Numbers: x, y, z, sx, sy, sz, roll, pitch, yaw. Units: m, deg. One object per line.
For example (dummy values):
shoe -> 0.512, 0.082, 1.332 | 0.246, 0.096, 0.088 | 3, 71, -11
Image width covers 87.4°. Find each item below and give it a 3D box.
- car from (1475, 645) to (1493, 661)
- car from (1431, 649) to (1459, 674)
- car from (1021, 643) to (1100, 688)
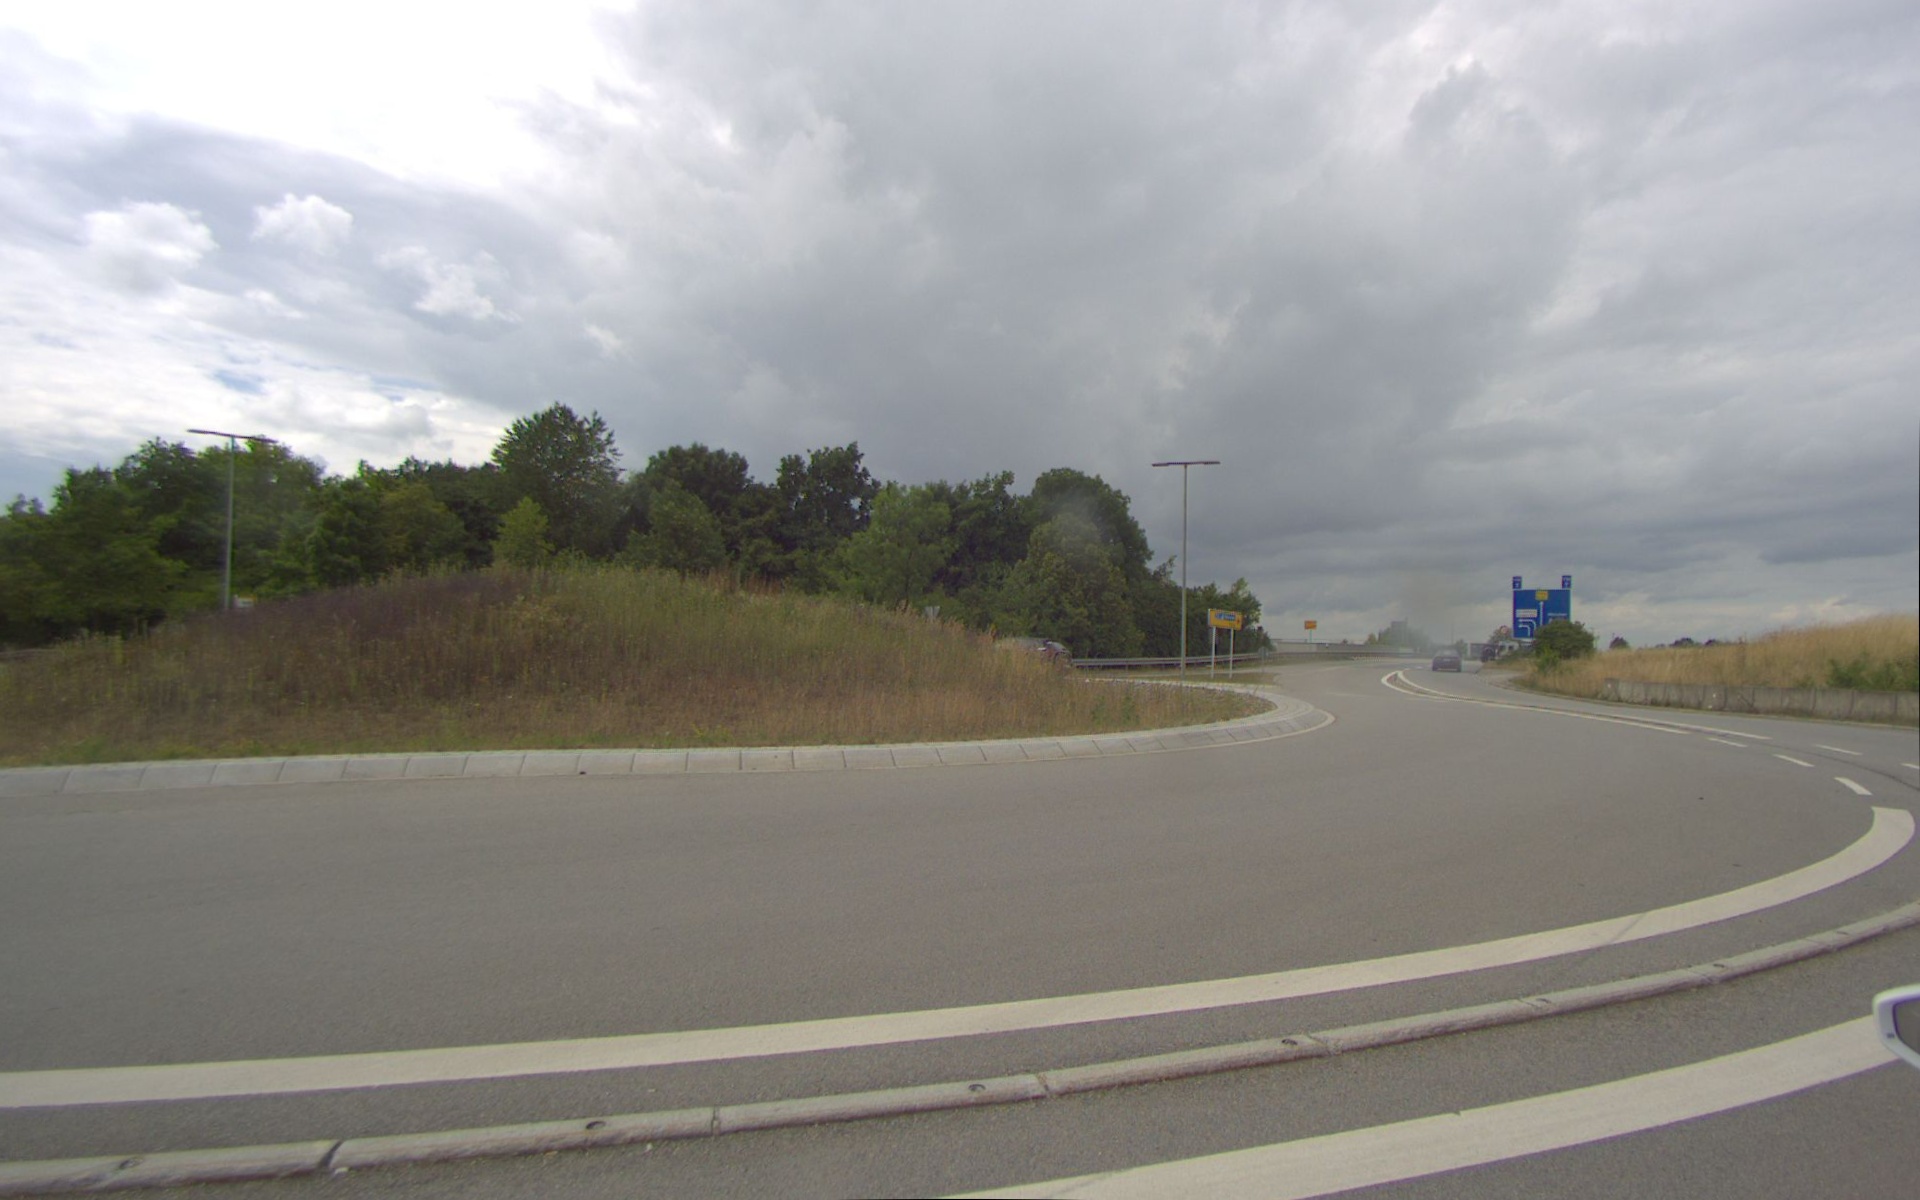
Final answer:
car -> 55.498, 5.612, 106.363 | 1.575, 1.569, 4.038 | -1, -1, 30
car -> 31.044, 3.925, 64.263 | 1.495, 1.505, 3.611 | 1, -3, 28
car -> 3.550, 2.221, 34.883 | 1.635, 1.396, 3.998 | -1, -1, 23
